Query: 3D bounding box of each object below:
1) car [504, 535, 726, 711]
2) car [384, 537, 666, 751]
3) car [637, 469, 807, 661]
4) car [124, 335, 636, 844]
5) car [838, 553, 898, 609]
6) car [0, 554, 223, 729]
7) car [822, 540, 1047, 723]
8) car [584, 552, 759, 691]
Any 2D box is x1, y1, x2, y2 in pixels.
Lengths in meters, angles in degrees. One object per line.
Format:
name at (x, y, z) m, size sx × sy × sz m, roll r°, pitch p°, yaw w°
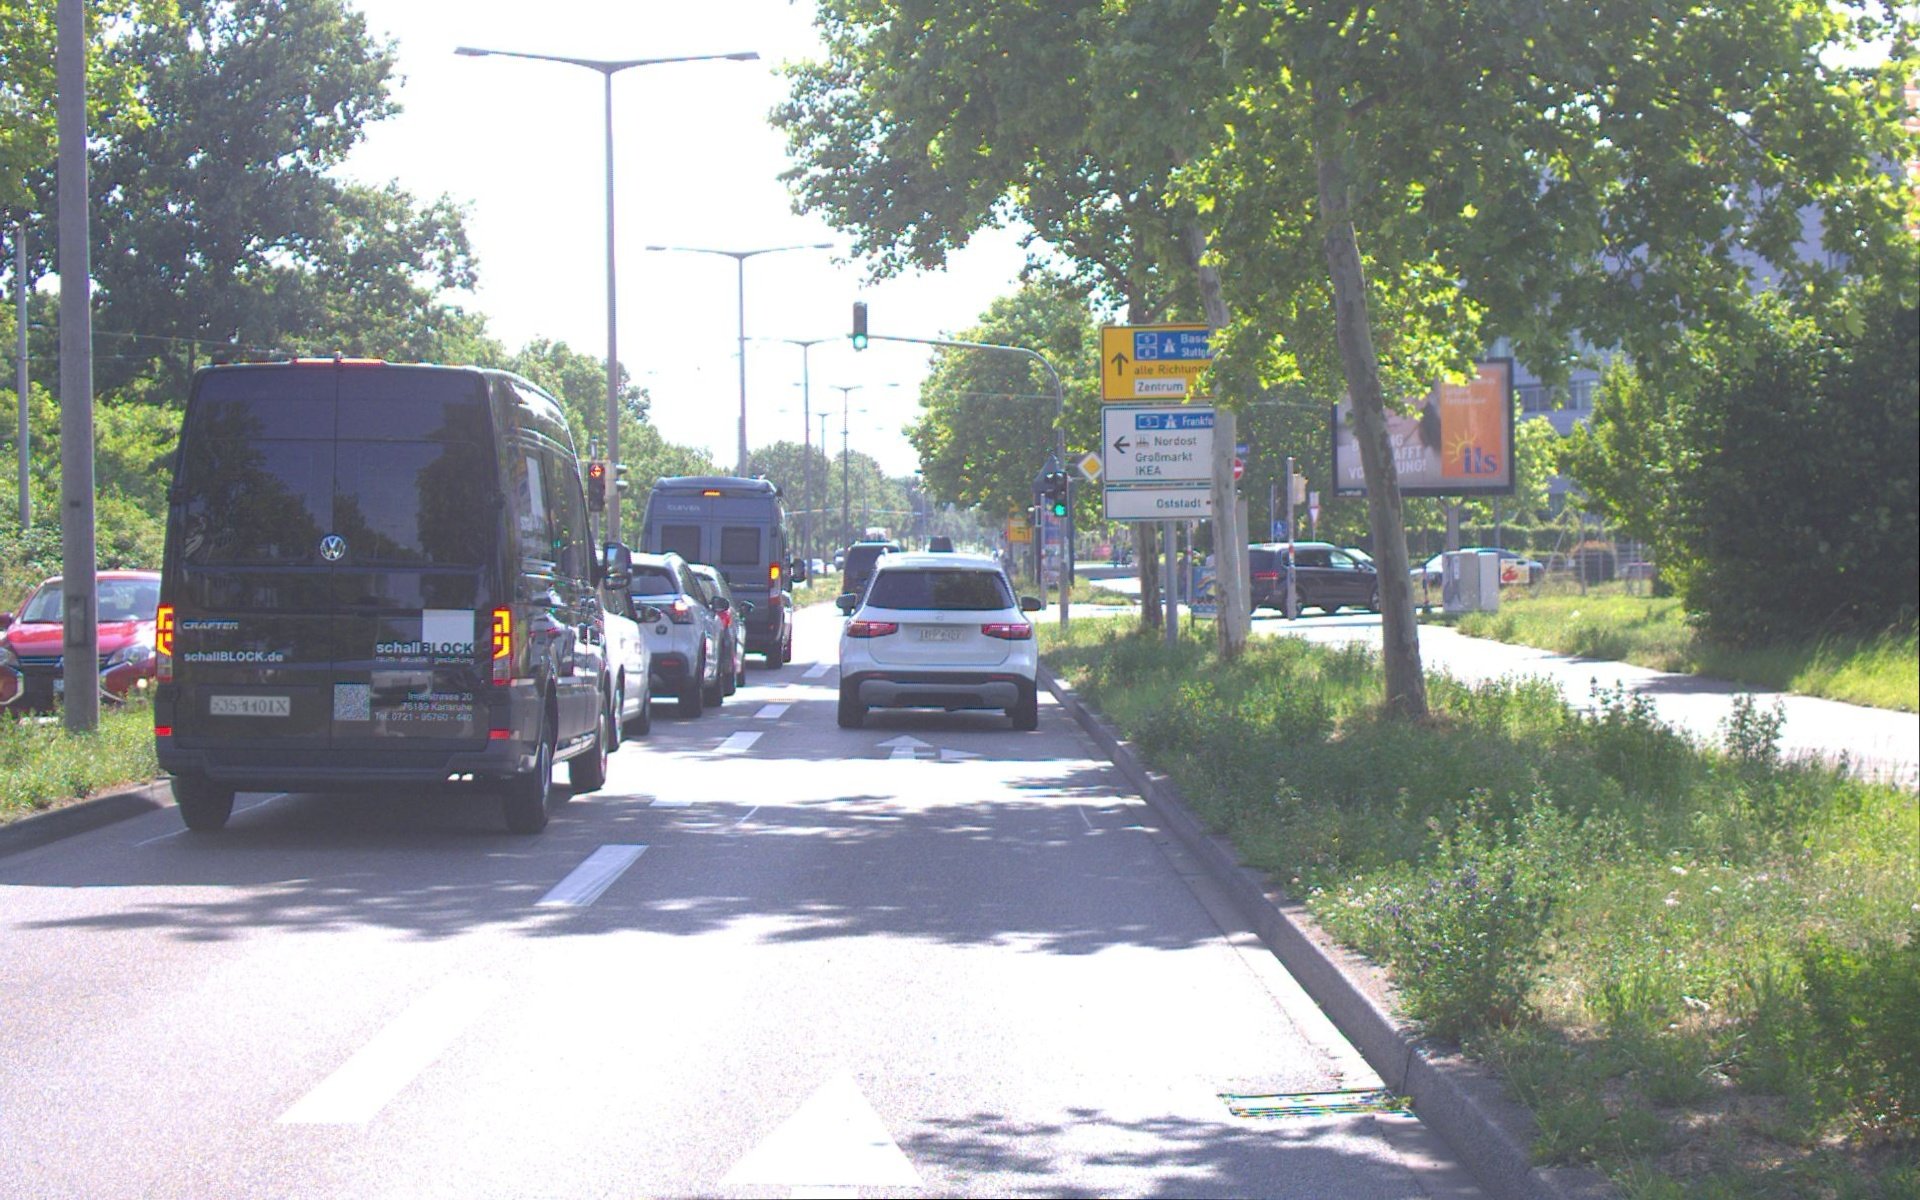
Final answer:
car at (-3.380, 0.201, 34.303) m, size 1.771 × 1.641 × 4.084 m, roll 0°, pitch 0°, yaw 0°
car at (-3.542, 0.321, 28.712) m, size 1.771 × 1.641 × 4.352 m, roll 0°, pitch 0°, yaw 0°
car at (-3.425, -0.515, 50.385) m, size 2.081 × 2.647 × 4.874 m, roll 1°, pitch 0°, yaw 0°
car at (-3.274, -0.080, 20.775) m, size 2.016 × 2.598 × 6.168 m, roll 1°, pitch 0°, yaw 0°
car at (-2.346, -0.491, 87.904) m, size 1.464 × 1.399 × 3.477 m, roll 0°, pitch 1°, yaw -1°
car at (-8.255, 0.345, 32.962) m, size 1.853 × 1.578 × 4.176 m, roll 0°, pitch 1°, yaw -6°
car at (-0.307, 0.248, 32.658) m, size 1.853 × 1.602 × 4.001 m, roll 1°, pitch 1°, yaw -4°
car at (-3.313, 0.210, 40.072) m, size 1.691 × 1.499 × 3.886 m, roll 1°, pitch 1°, yaw 0°
